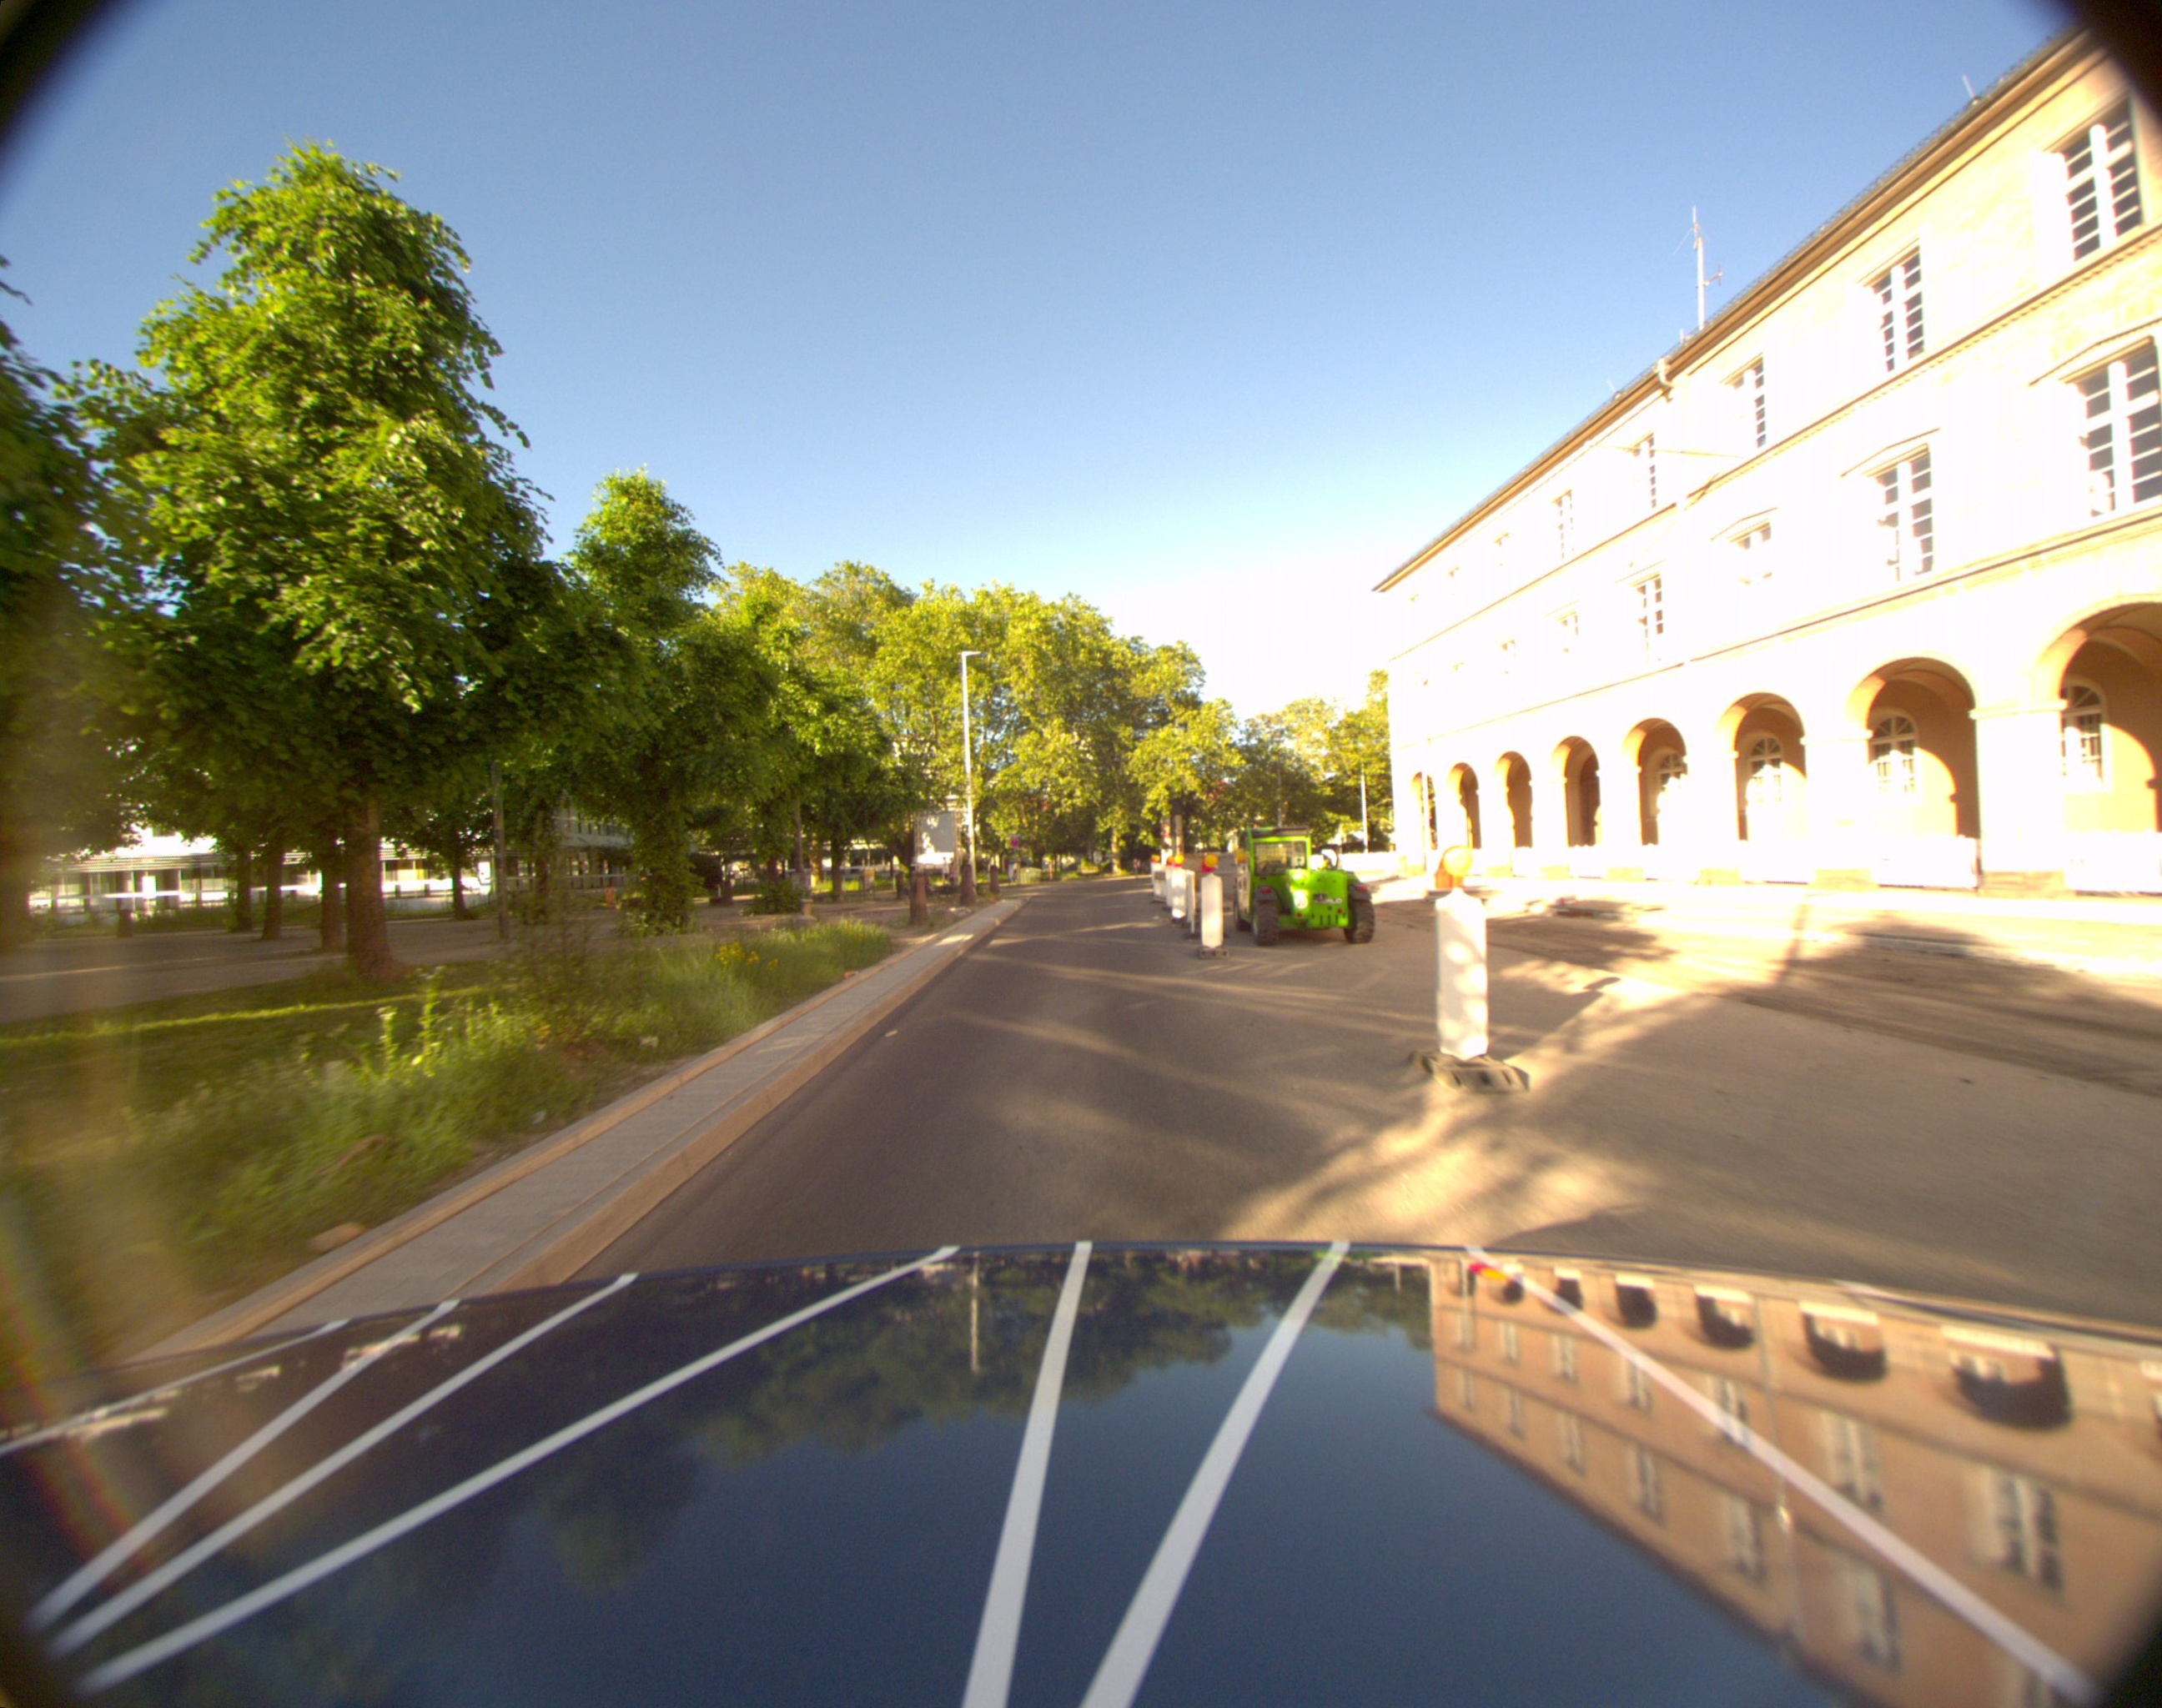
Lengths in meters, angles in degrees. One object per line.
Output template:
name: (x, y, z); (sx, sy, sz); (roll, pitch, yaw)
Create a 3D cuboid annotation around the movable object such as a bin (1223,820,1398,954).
movable object such as a bin: (3.876, 0.539, 13.678); (2.054, 1.937, 4.336); (-3, -1, 5)

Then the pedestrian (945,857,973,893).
pedestrian: (-5.691, 0.993, 35.416); (0.940, 1.614, 0.709); (-4, 1, -40)

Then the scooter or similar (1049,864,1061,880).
scooter or similar: (-1.609, 1.114, 47.111); (0.420, 0.909, 1.149); (-4, 2, -16)

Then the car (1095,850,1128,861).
car: (4.629, 0.187, 114.906); (4.657, 1.466, 2.013); (-2, -1, -8)

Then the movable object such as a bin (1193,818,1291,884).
movable object such as a bin: (8.154, -0.210, 38.034); (2.560, 3.014, 5.942); (-2, 1, 35)

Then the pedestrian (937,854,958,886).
pedestrian: (-7.881, 0.949, 44.818); (1.134, 1.801, 0.747); (-3, -1, -13)
